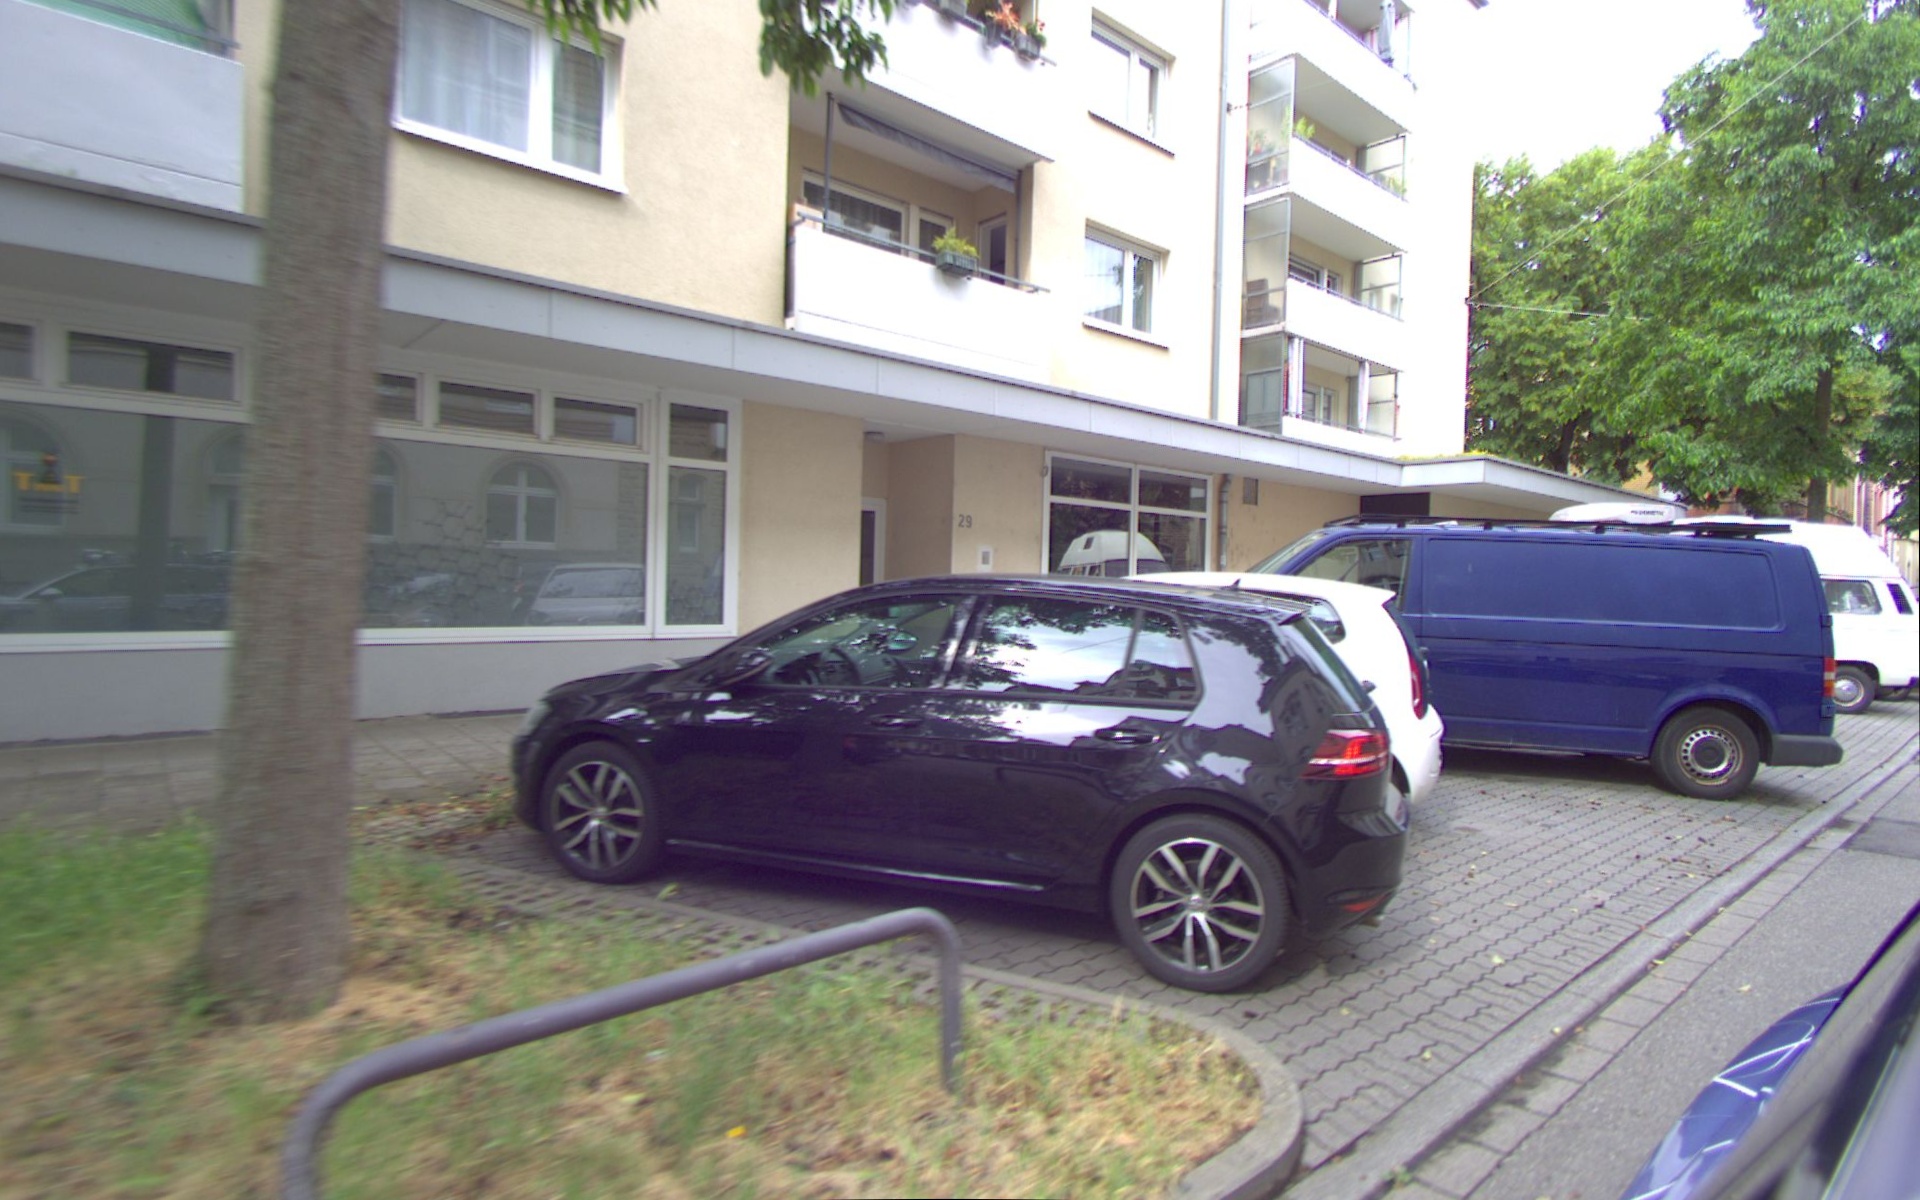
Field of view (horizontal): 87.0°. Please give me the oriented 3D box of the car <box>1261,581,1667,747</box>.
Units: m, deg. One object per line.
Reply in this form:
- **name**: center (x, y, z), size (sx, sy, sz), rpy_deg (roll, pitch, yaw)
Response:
- **car**: center (5.166, 0.585, 10.906), size (3.617, 1.499, 1.680), rpy_deg (2, 1, 16)

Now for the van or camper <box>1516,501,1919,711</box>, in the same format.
- **van or camper**: center (10.560, 0.011, 14.119), size (4.534, 2.628, 1.901), rpy_deg (2, 1, 17)

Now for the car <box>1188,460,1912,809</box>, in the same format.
- **car**: center (4.380, 0.149, 8.441), size (4.634, 2.223, 2.060), rpy_deg (4, 2, 12)

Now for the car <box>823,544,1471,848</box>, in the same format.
- **car**: center (1.208, 0.429, 6.823), size (3.874, 1.483, 1.809), rpy_deg (3, 2, 25)

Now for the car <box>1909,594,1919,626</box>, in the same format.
- **car**: center (47.016, 0.622, 46.611), size (4.383, 1.444, 1.750), rpy_deg (4, 3, 16)

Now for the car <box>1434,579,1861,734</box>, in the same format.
- **car**: center (7.985, 0.581, 12.159), size (3.761, 1.435, 1.718), rpy_deg (4, 2, 14)

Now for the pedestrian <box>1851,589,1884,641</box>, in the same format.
- **pedestrian**: center (32.416, 0.535, 36.162), size (0.500, 1.819, 0.781), rpy_deg (1, 0, -39)

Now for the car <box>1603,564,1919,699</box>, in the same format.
- **car**: center (12.895, 0.424, 15.999), size (4.300, 1.877, 1.895), rpy_deg (2, 1, 25)

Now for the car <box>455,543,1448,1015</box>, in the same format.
- **car**: center (-0.086, 0.527, 4.821), size (4.060, 1.460, 1.842), rpy_deg (2, 2, 19)
